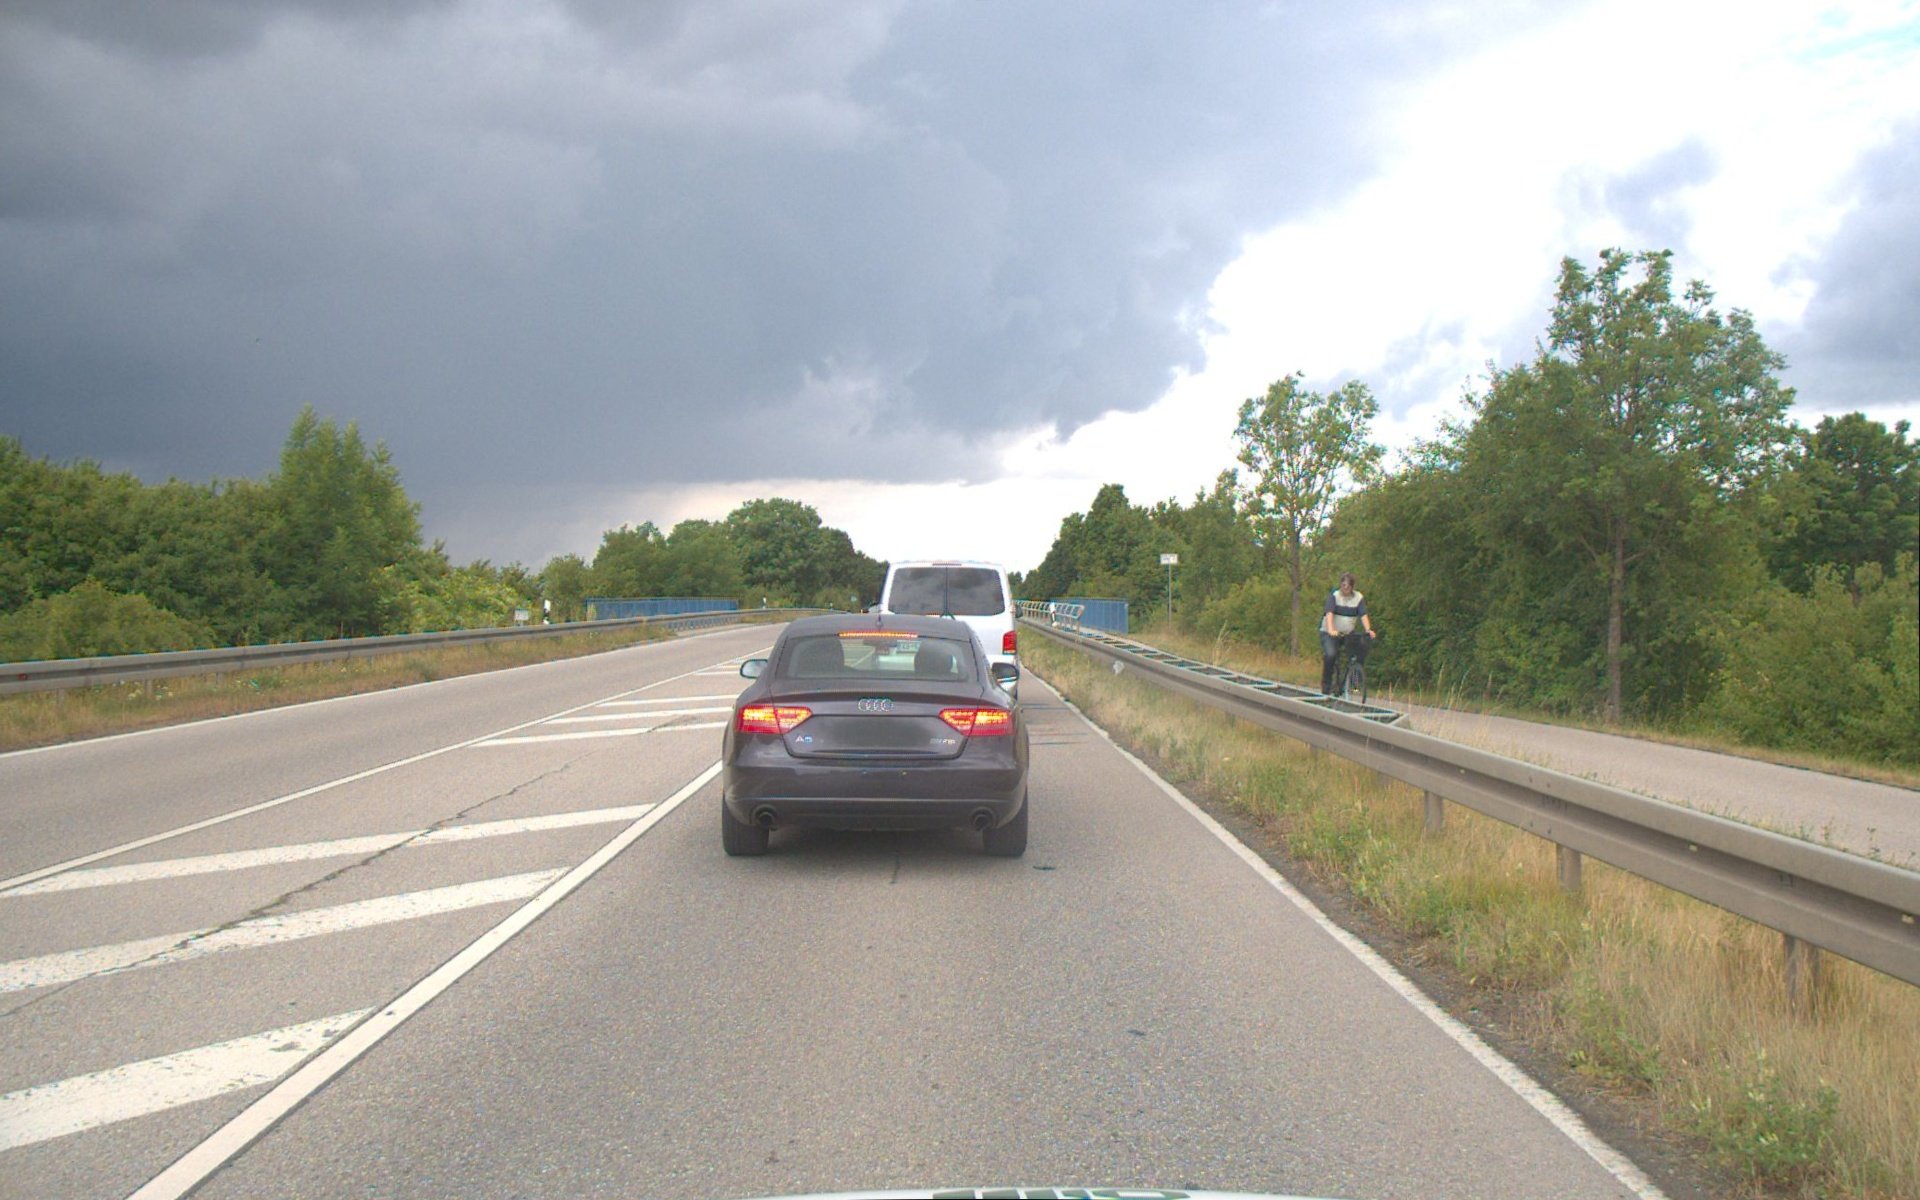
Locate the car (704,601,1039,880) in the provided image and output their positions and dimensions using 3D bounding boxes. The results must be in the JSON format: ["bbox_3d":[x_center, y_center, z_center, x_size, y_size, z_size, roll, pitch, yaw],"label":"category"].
[{"bbox_3d":[-0.494,0.762,10.749,1.749,1.449,3.999,1,-1,-1],"label":"car"}]

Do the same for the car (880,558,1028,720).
[{"bbox_3d":[-0.098,0.489,21.907,1.749,1.923,3.999,1,-1,-1],"label":"car"}]

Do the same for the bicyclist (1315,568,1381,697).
[{"bbox_3d":[5.108,0.420,21.809,0.634,1.674,0.866,0,0,-1],"label":"bicyclist"}]

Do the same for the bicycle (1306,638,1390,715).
[{"bbox_3d":[5.119,0.995,21.919,0.652,0.936,1.830,0,0,-1],"label":"bicycle"}]

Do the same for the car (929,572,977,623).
[{"bbox_3d":[-0.378,-0.142,87.743,2.397,2.548,5.041,1,0,0],"label":"car"}]
